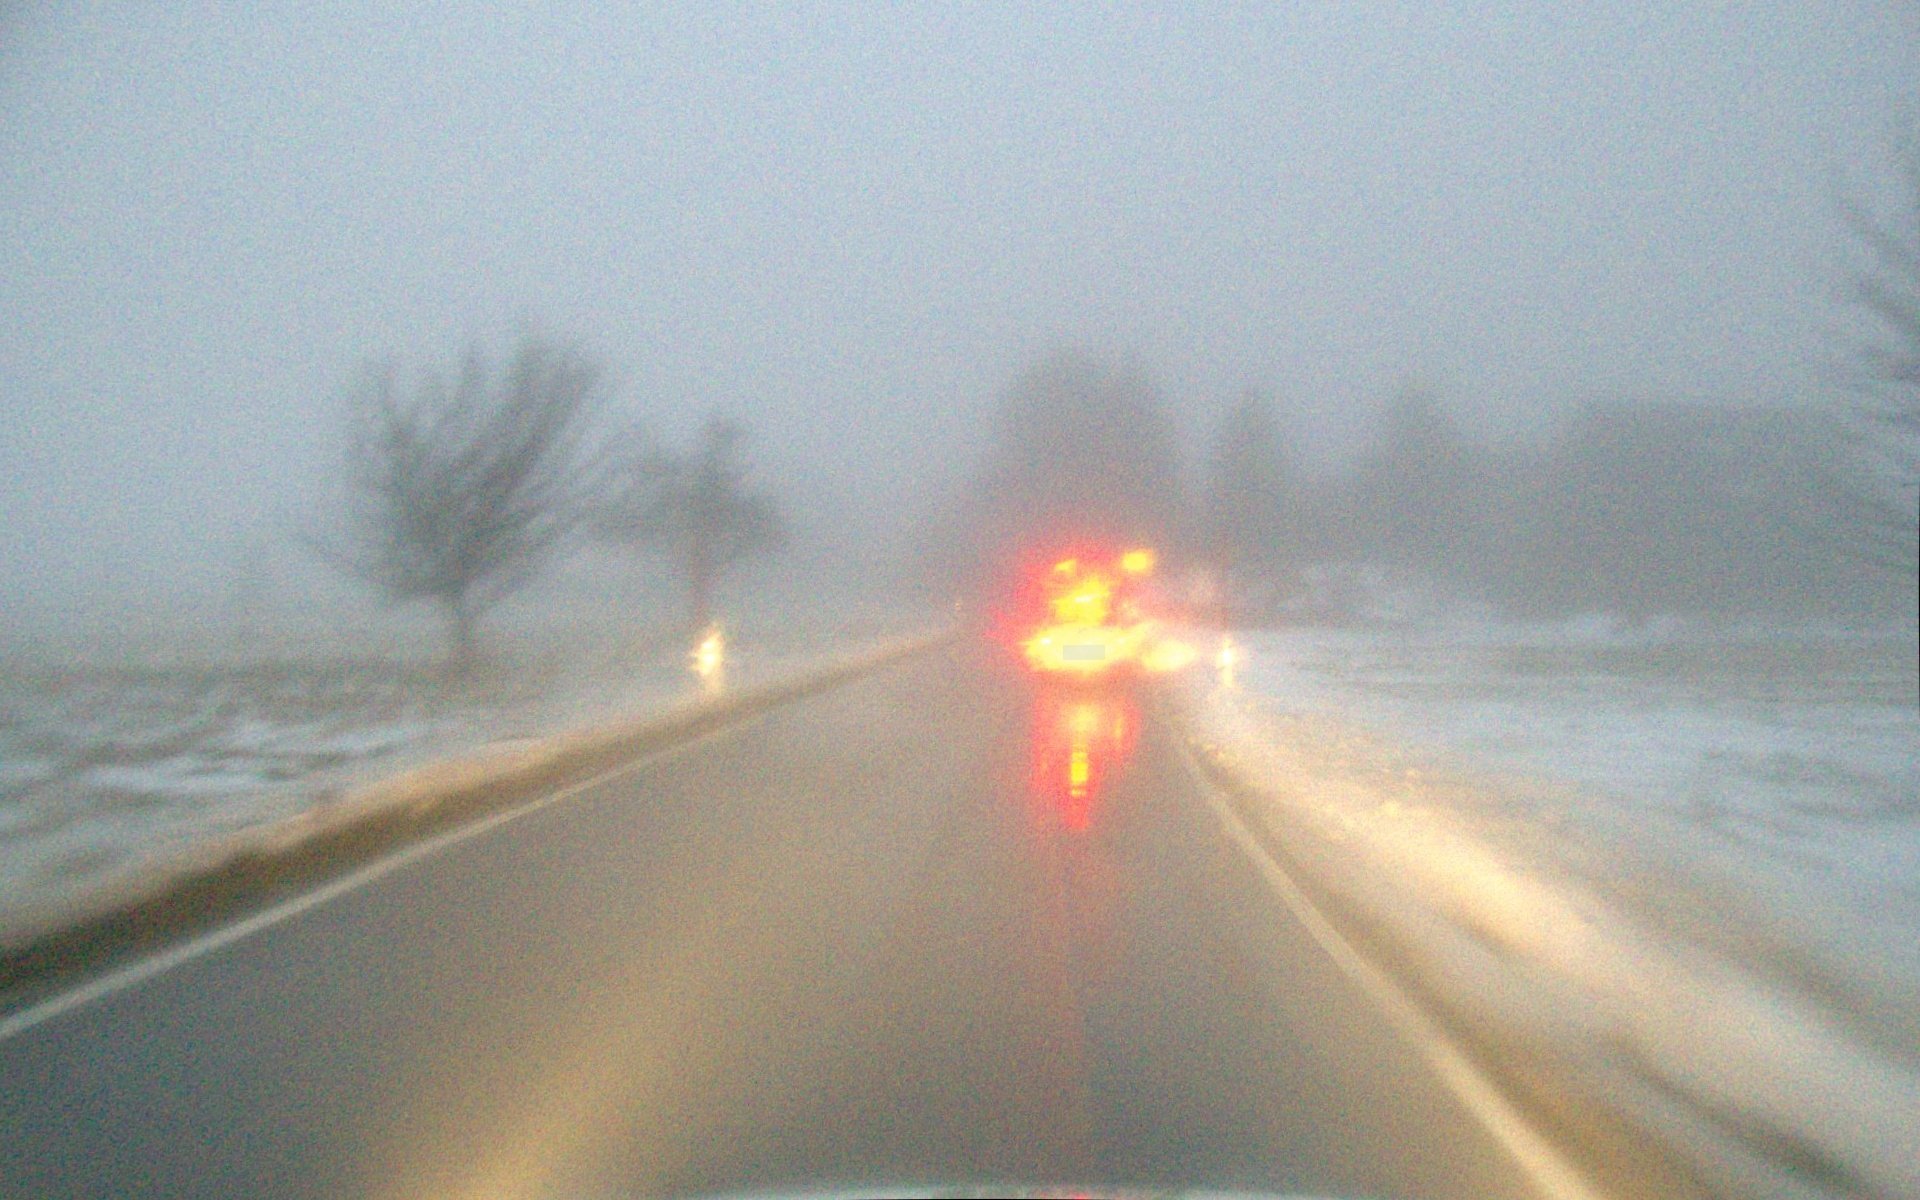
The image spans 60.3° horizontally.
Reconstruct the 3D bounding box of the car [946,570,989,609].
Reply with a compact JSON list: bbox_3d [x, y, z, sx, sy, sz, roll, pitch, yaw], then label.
[{"bbox_3d":[0.323,-0.412,67.411,1.490,1.534,3.054,-1,0,5],"label":"car"}]

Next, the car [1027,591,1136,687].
[{"bbox_3d":[2.071,0.675,29.063,1.671,1.489,4.000,3,-1,2],"label":"car"}]
